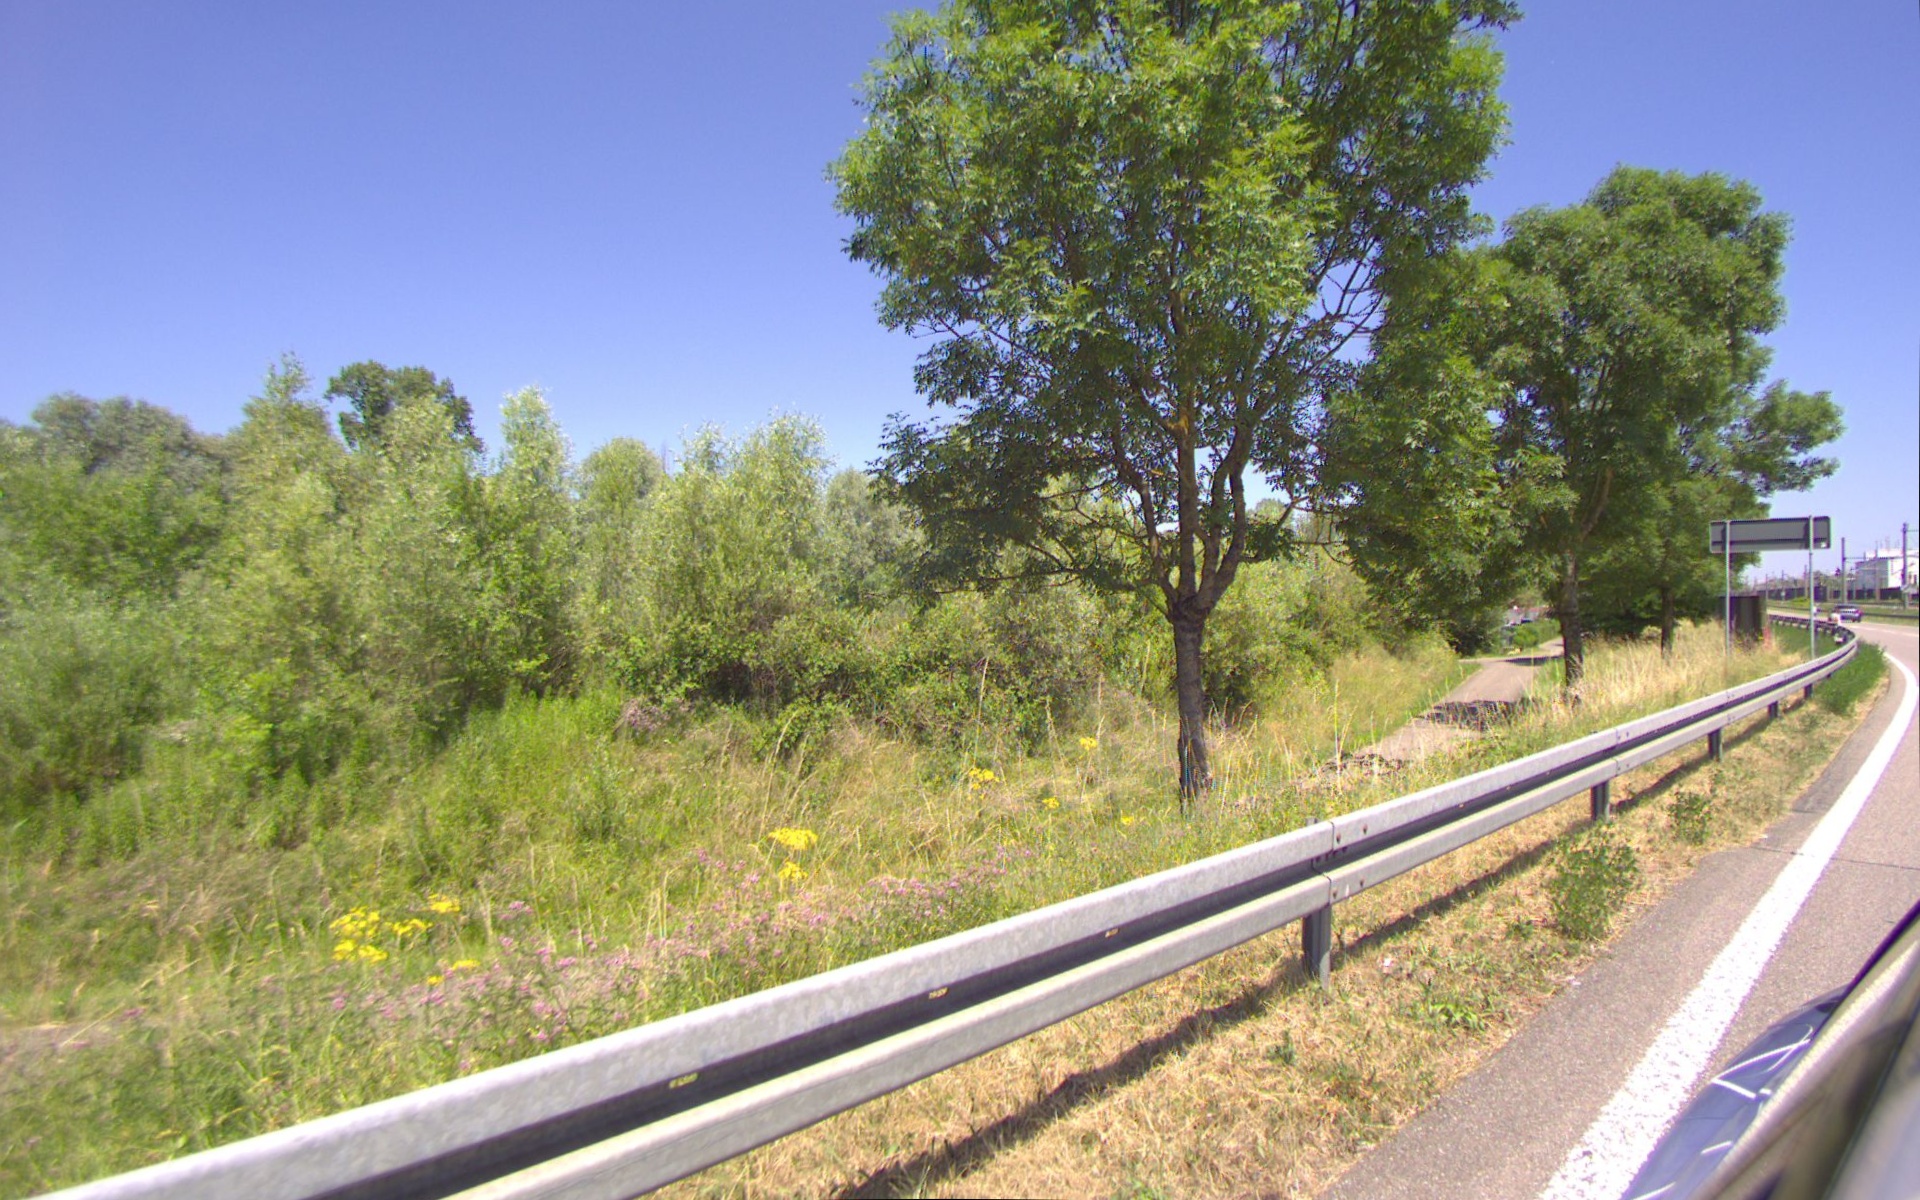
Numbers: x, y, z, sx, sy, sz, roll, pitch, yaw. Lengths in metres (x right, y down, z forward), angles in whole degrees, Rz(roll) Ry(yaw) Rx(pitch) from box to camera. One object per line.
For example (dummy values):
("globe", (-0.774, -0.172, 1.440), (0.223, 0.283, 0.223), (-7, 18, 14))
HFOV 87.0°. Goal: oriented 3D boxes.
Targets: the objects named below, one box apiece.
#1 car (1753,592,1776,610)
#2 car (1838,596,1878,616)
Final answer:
("car", (91.115, 0.084, 114.635), (1.990, 2.039, 3.944), (1, 1, 39))
("car", (73.299, 0.456, 82.698), (1.858, 1.503, 4.826), (1, 1, 35))
